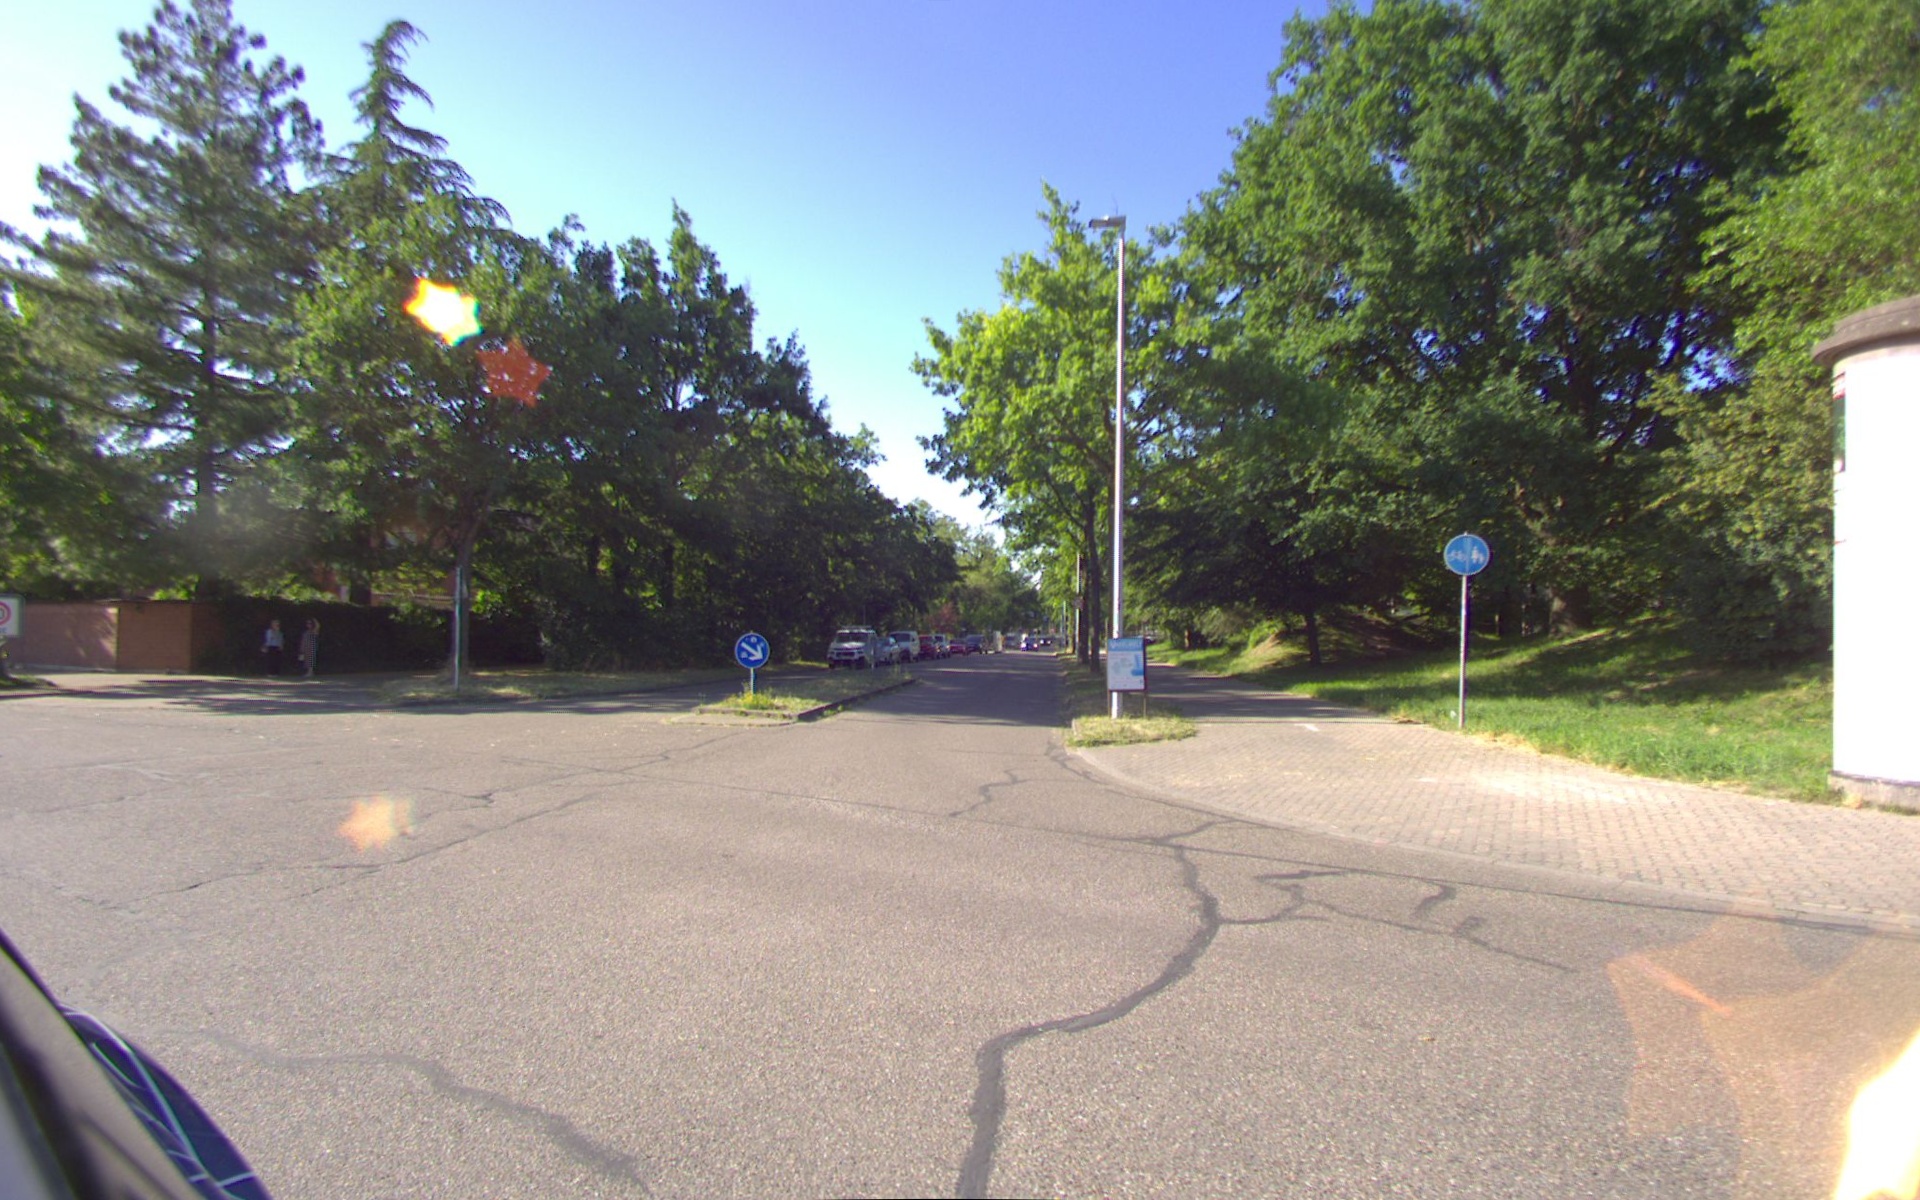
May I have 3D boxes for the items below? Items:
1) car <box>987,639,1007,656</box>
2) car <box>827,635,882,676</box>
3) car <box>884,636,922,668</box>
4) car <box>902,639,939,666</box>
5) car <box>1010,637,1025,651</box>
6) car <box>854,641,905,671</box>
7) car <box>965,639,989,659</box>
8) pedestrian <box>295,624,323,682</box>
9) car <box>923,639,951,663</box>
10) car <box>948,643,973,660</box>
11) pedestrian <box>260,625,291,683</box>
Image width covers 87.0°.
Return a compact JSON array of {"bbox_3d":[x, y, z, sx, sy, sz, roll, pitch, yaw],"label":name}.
[{"bbox_3d":[3.556,4.513,96.352,1.434,1.666,3.708,-1,-2,9],"label":"car"},{"bbox_3d":[-4.741,2.463,46.056,1.733,1.762,4.627,-1,-2,4],"label":"car"},{"bbox_3d":[-3.195,2.924,57.469,1.483,1.768,3.793,-1,-2,7],"label":"car"},{"bbox_3d":[-2.483,3.337,64.504,1.752,1.651,3.744,-1,-2,7],"label":"car"},{"bbox_3d":[6.837,5.223,120.380,1.407,1.666,3.898,-1,-2,9],"label":"car"},{"bbox_3d":[-4.075,2.867,52.009,1.703,1.455,4.603,-2,-3,7],"label":"car"},{"bbox_3d":[1.507,4.172,87.146,1.484,1.666,4.079,-1,-2,9],"label":"car"},{"bbox_3d":[-17.862,1.452,27.765,0.537,1.573,0.392,0,-3,33],"label":"pedestrian"},{"bbox_3d":[-1.602,3.580,71.430,1.483,1.651,3.744,-1,-2,7],"label":"car"},{"bbox_3d":[0.041,4.106,80.939,1.484,1.369,3.456,-1,-2,9],"label":"car"},{"bbox_3d":[-18.400,1.438,27.202,0.391,1.532,0.537,0,-2,6],"label":"pedestrian"}]
